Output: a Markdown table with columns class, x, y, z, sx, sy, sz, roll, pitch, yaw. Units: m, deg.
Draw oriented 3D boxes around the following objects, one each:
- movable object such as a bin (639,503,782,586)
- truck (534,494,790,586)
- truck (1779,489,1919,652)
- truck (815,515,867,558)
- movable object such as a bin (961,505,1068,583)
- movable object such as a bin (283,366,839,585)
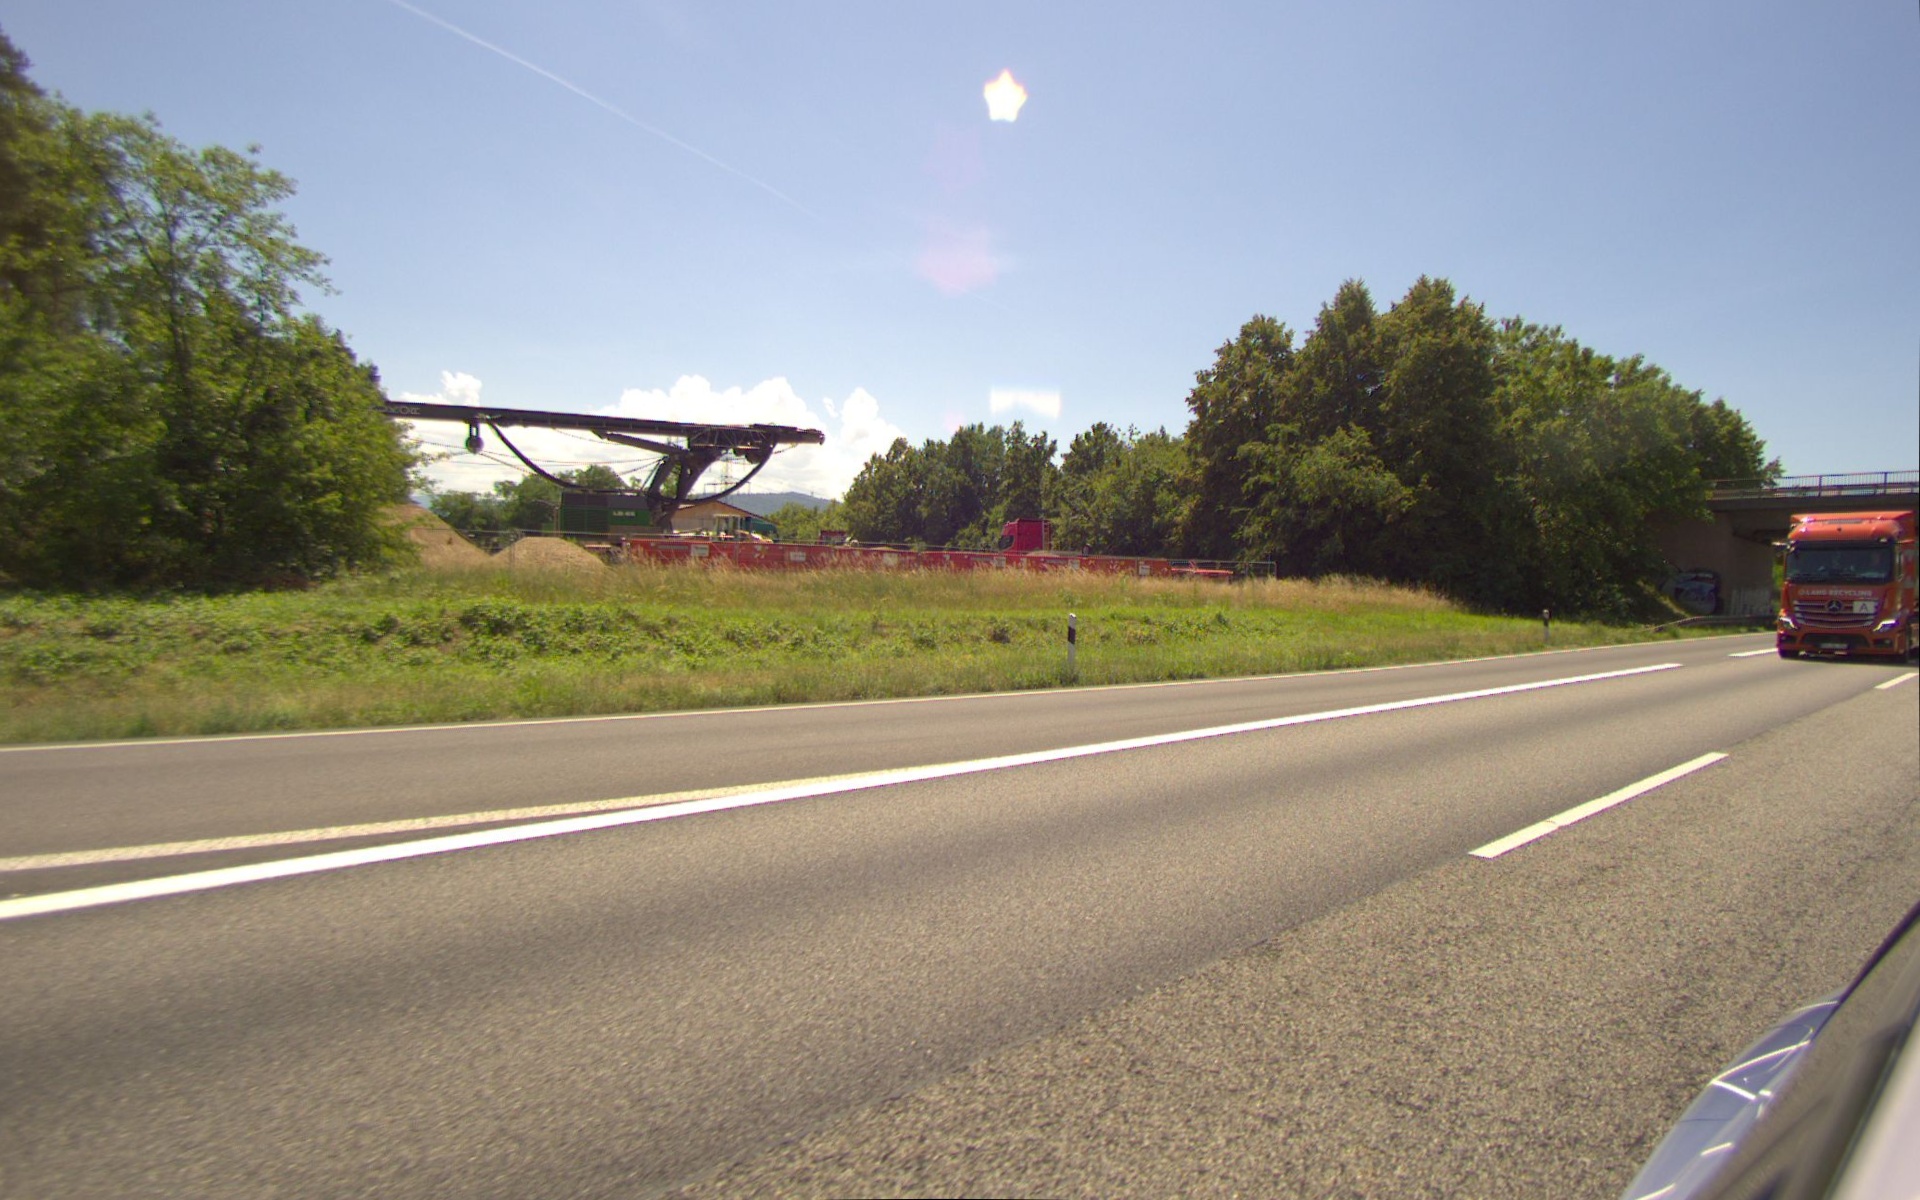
| class | x | y | z | sx | sy | sz | roll | pitch | yaw |
| --- | --- | --- | --- | --- | --- | --- | --- | --- | --- |
| movable object such as a bin | -13.563 | -2.949 | 55.352 | 6.549 | 4.263 | 3.935 | 1 | 0 | 14 |
| truck | -19.117 | -3.638 | 66.312 | 15.879 | 5.292 | 3.140 | 0 | 0 | -35 |
| truck | 26.359 | -0.682 | 28.864 | 12.261 | 3.846 | 2.685 | 0 | 0 | -42 |
| truck | -10.606 | -5.382 | 88.547 | 3.578 | 2.983 | 13.525 | 1 | 0 | -11 |
| movable object such as a bin | 3.226 | -3.246 | 61.248 | 3.738 | 4.365 | 5.936 | 1 | 0 | -31 |
| movable object such as a bin | -16.524 | -4.831 | 45.078 | 22.328 | 8.027 | 3.145 | 0 | 0 | -27 |
